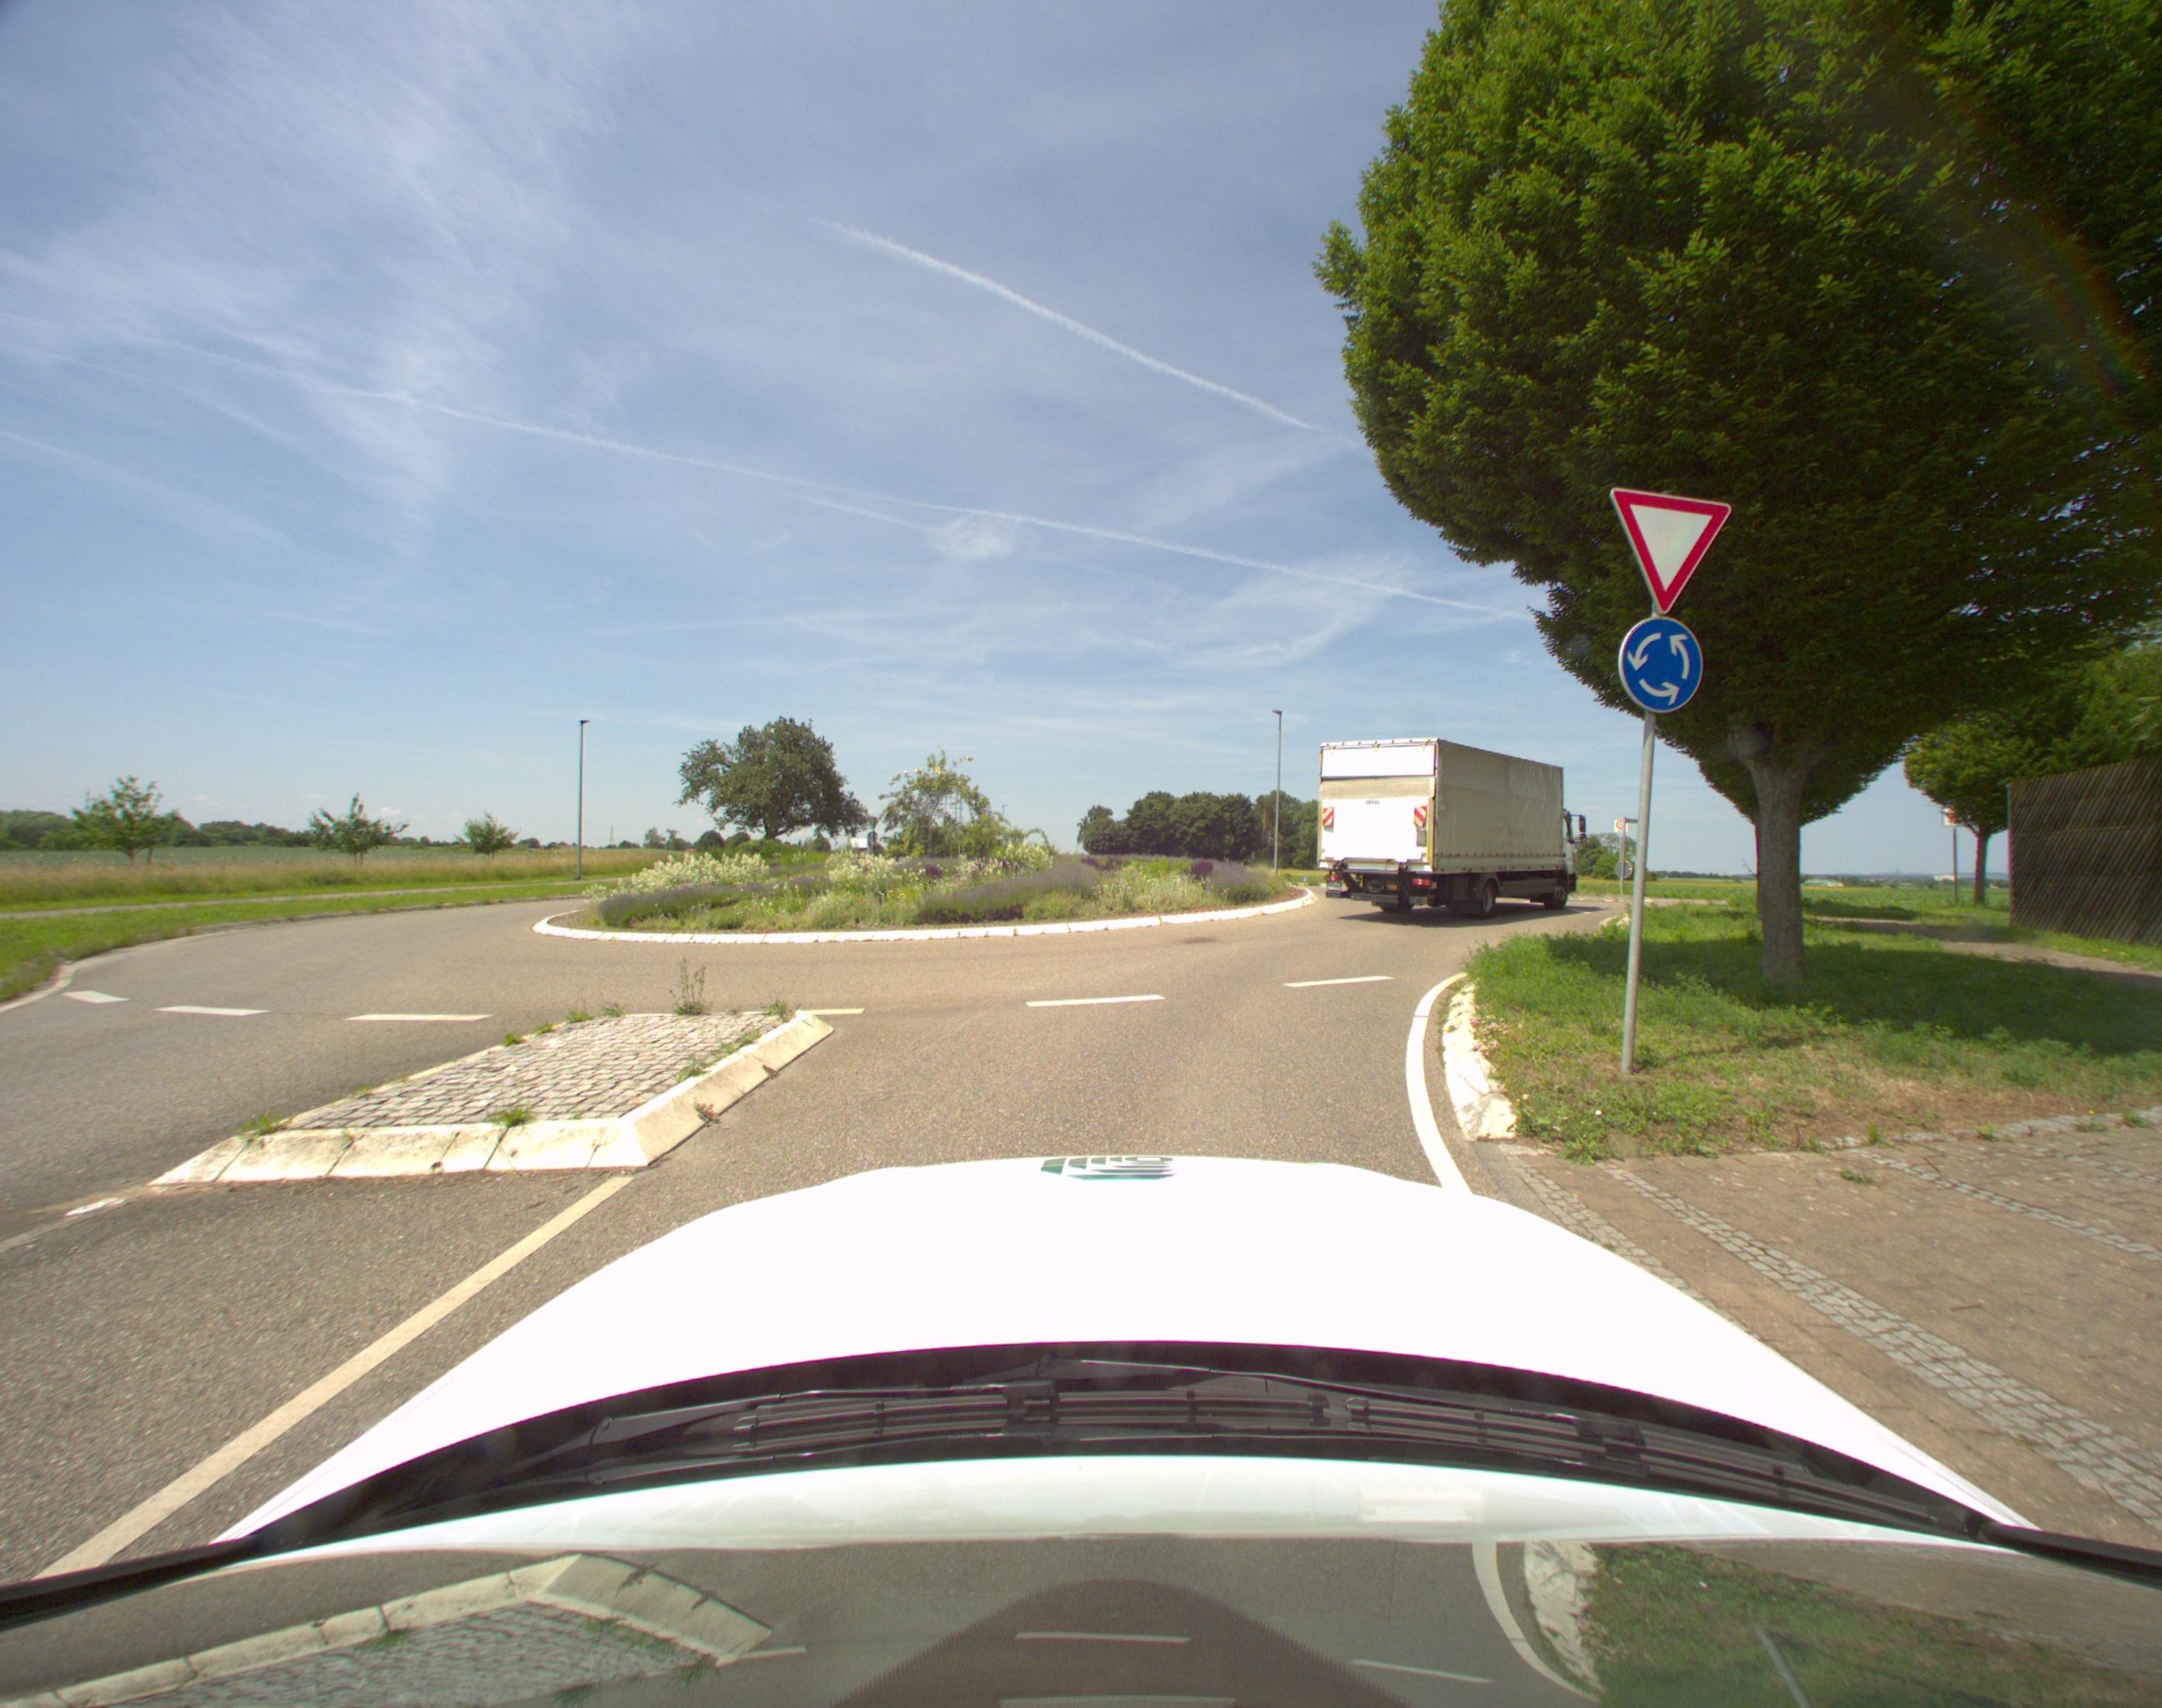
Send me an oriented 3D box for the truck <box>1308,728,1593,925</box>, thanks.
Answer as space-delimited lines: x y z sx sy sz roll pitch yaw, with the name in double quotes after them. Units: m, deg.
9.198 -0.536 19.401 9.434 3.670 2.742 0 1 -43 "truck"
